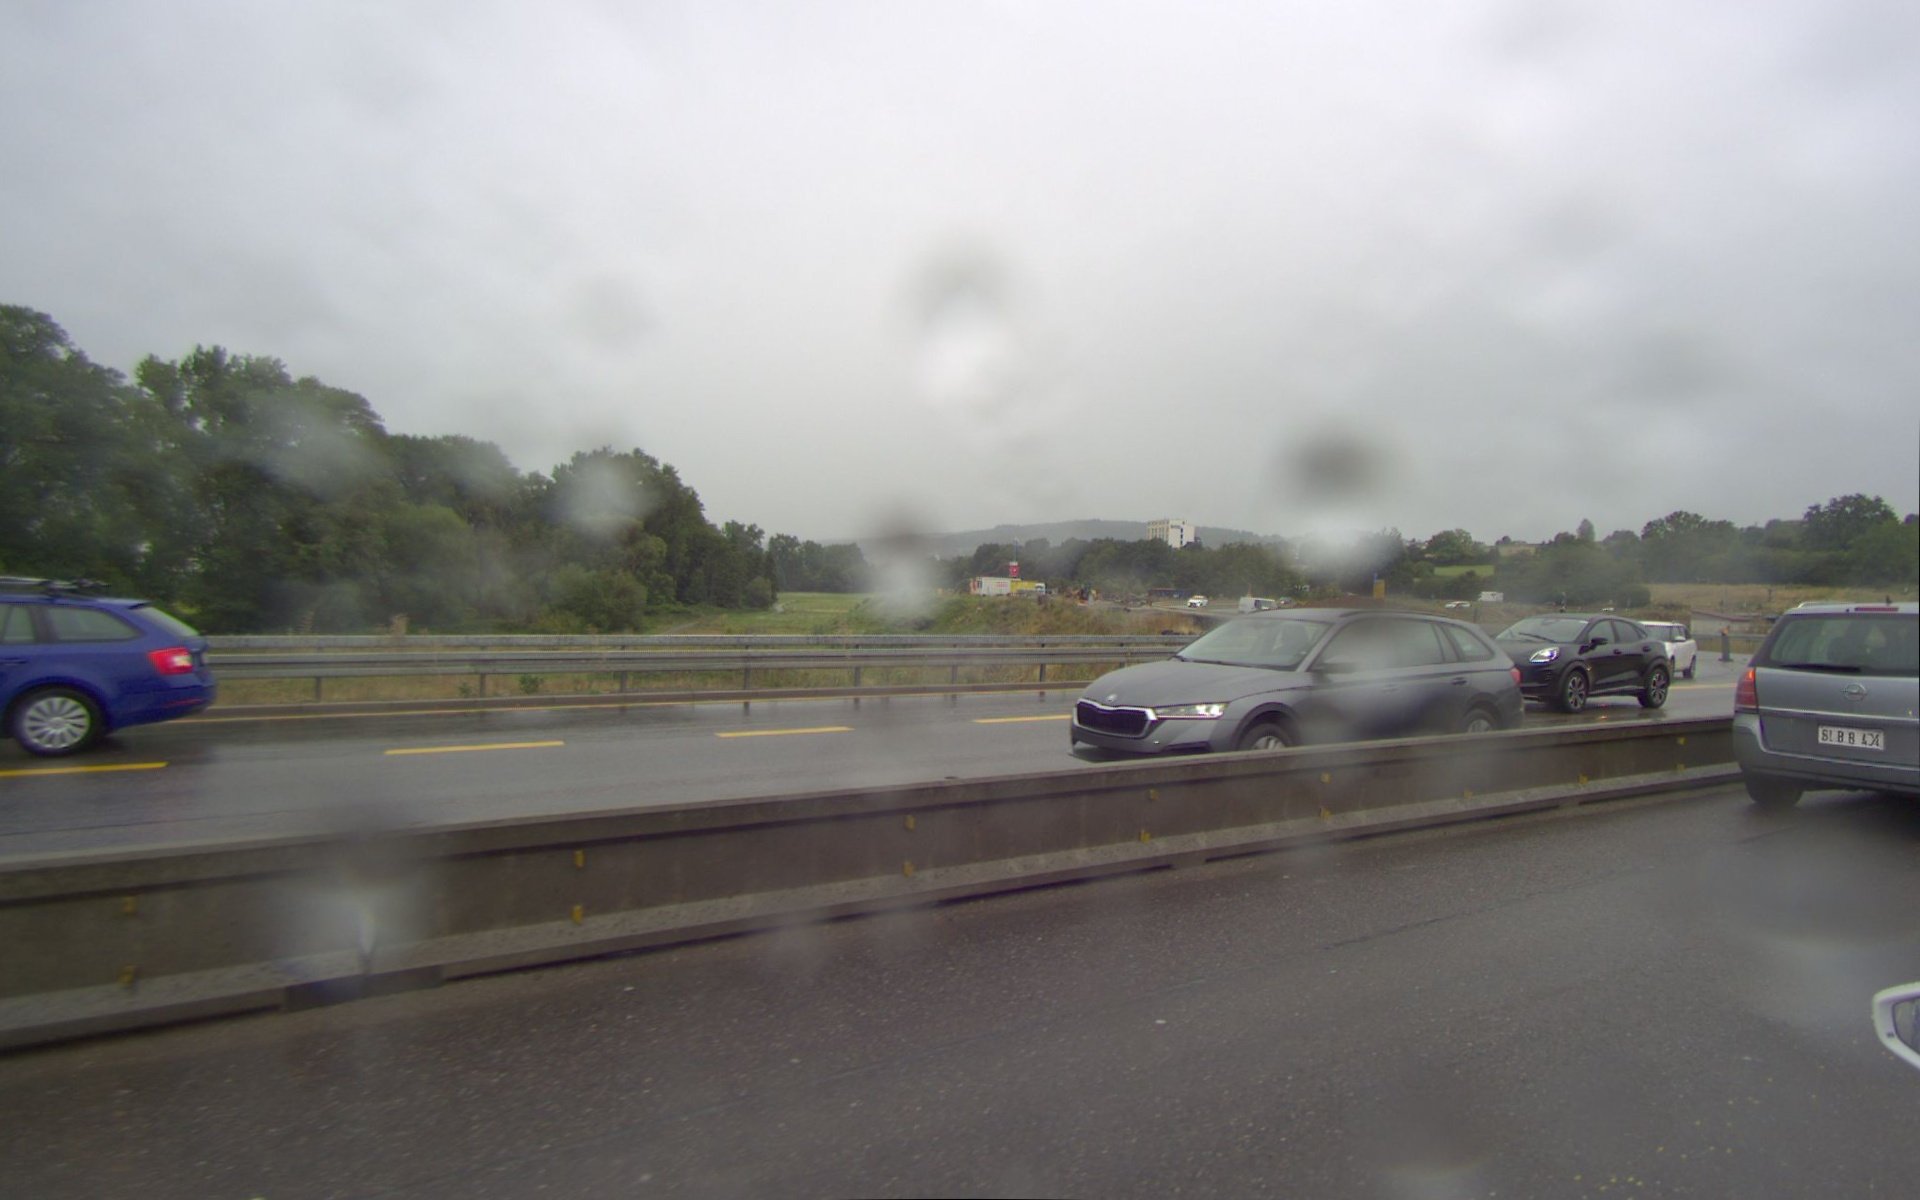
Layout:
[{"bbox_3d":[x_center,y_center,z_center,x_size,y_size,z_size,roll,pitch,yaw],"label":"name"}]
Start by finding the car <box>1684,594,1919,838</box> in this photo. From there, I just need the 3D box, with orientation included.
[{"bbox_3d":[8.006,0.825,8.134,4.092,1.622,1.984,1,0,-30],"label":"car"}]

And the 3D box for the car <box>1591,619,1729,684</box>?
[{"bbox_3d":[19.061,1.338,27.288,4.230,1.597,1.833,0,-2,-37],"label":"car"}]

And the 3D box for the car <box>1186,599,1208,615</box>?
[{"bbox_3d":[32.030,0.958,135.641,2.032,2.090,4.840,2,0,24],"label":"car"}]

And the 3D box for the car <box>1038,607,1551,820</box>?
[{"bbox_3d":[3.023,0.820,8.884,4.358,1.468,1.899,0,-2,-30],"label":"car"}]

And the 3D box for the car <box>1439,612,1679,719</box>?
[{"bbox_3d":[9.929,0.982,16.610,3.955,1.517,1.810,0,0,-32],"label":"car"}]

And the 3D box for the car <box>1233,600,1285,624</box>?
[{"bbox_3d":[27.684,1.100,93.284,2.235,2.040,5.028,1,0,-16],"label":"car"}]

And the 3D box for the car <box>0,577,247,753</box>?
[{"bbox_3d":[-9.458,0.535,9.140,4.695,1.530,1.982,2,0,-33],"label":"car"}]
